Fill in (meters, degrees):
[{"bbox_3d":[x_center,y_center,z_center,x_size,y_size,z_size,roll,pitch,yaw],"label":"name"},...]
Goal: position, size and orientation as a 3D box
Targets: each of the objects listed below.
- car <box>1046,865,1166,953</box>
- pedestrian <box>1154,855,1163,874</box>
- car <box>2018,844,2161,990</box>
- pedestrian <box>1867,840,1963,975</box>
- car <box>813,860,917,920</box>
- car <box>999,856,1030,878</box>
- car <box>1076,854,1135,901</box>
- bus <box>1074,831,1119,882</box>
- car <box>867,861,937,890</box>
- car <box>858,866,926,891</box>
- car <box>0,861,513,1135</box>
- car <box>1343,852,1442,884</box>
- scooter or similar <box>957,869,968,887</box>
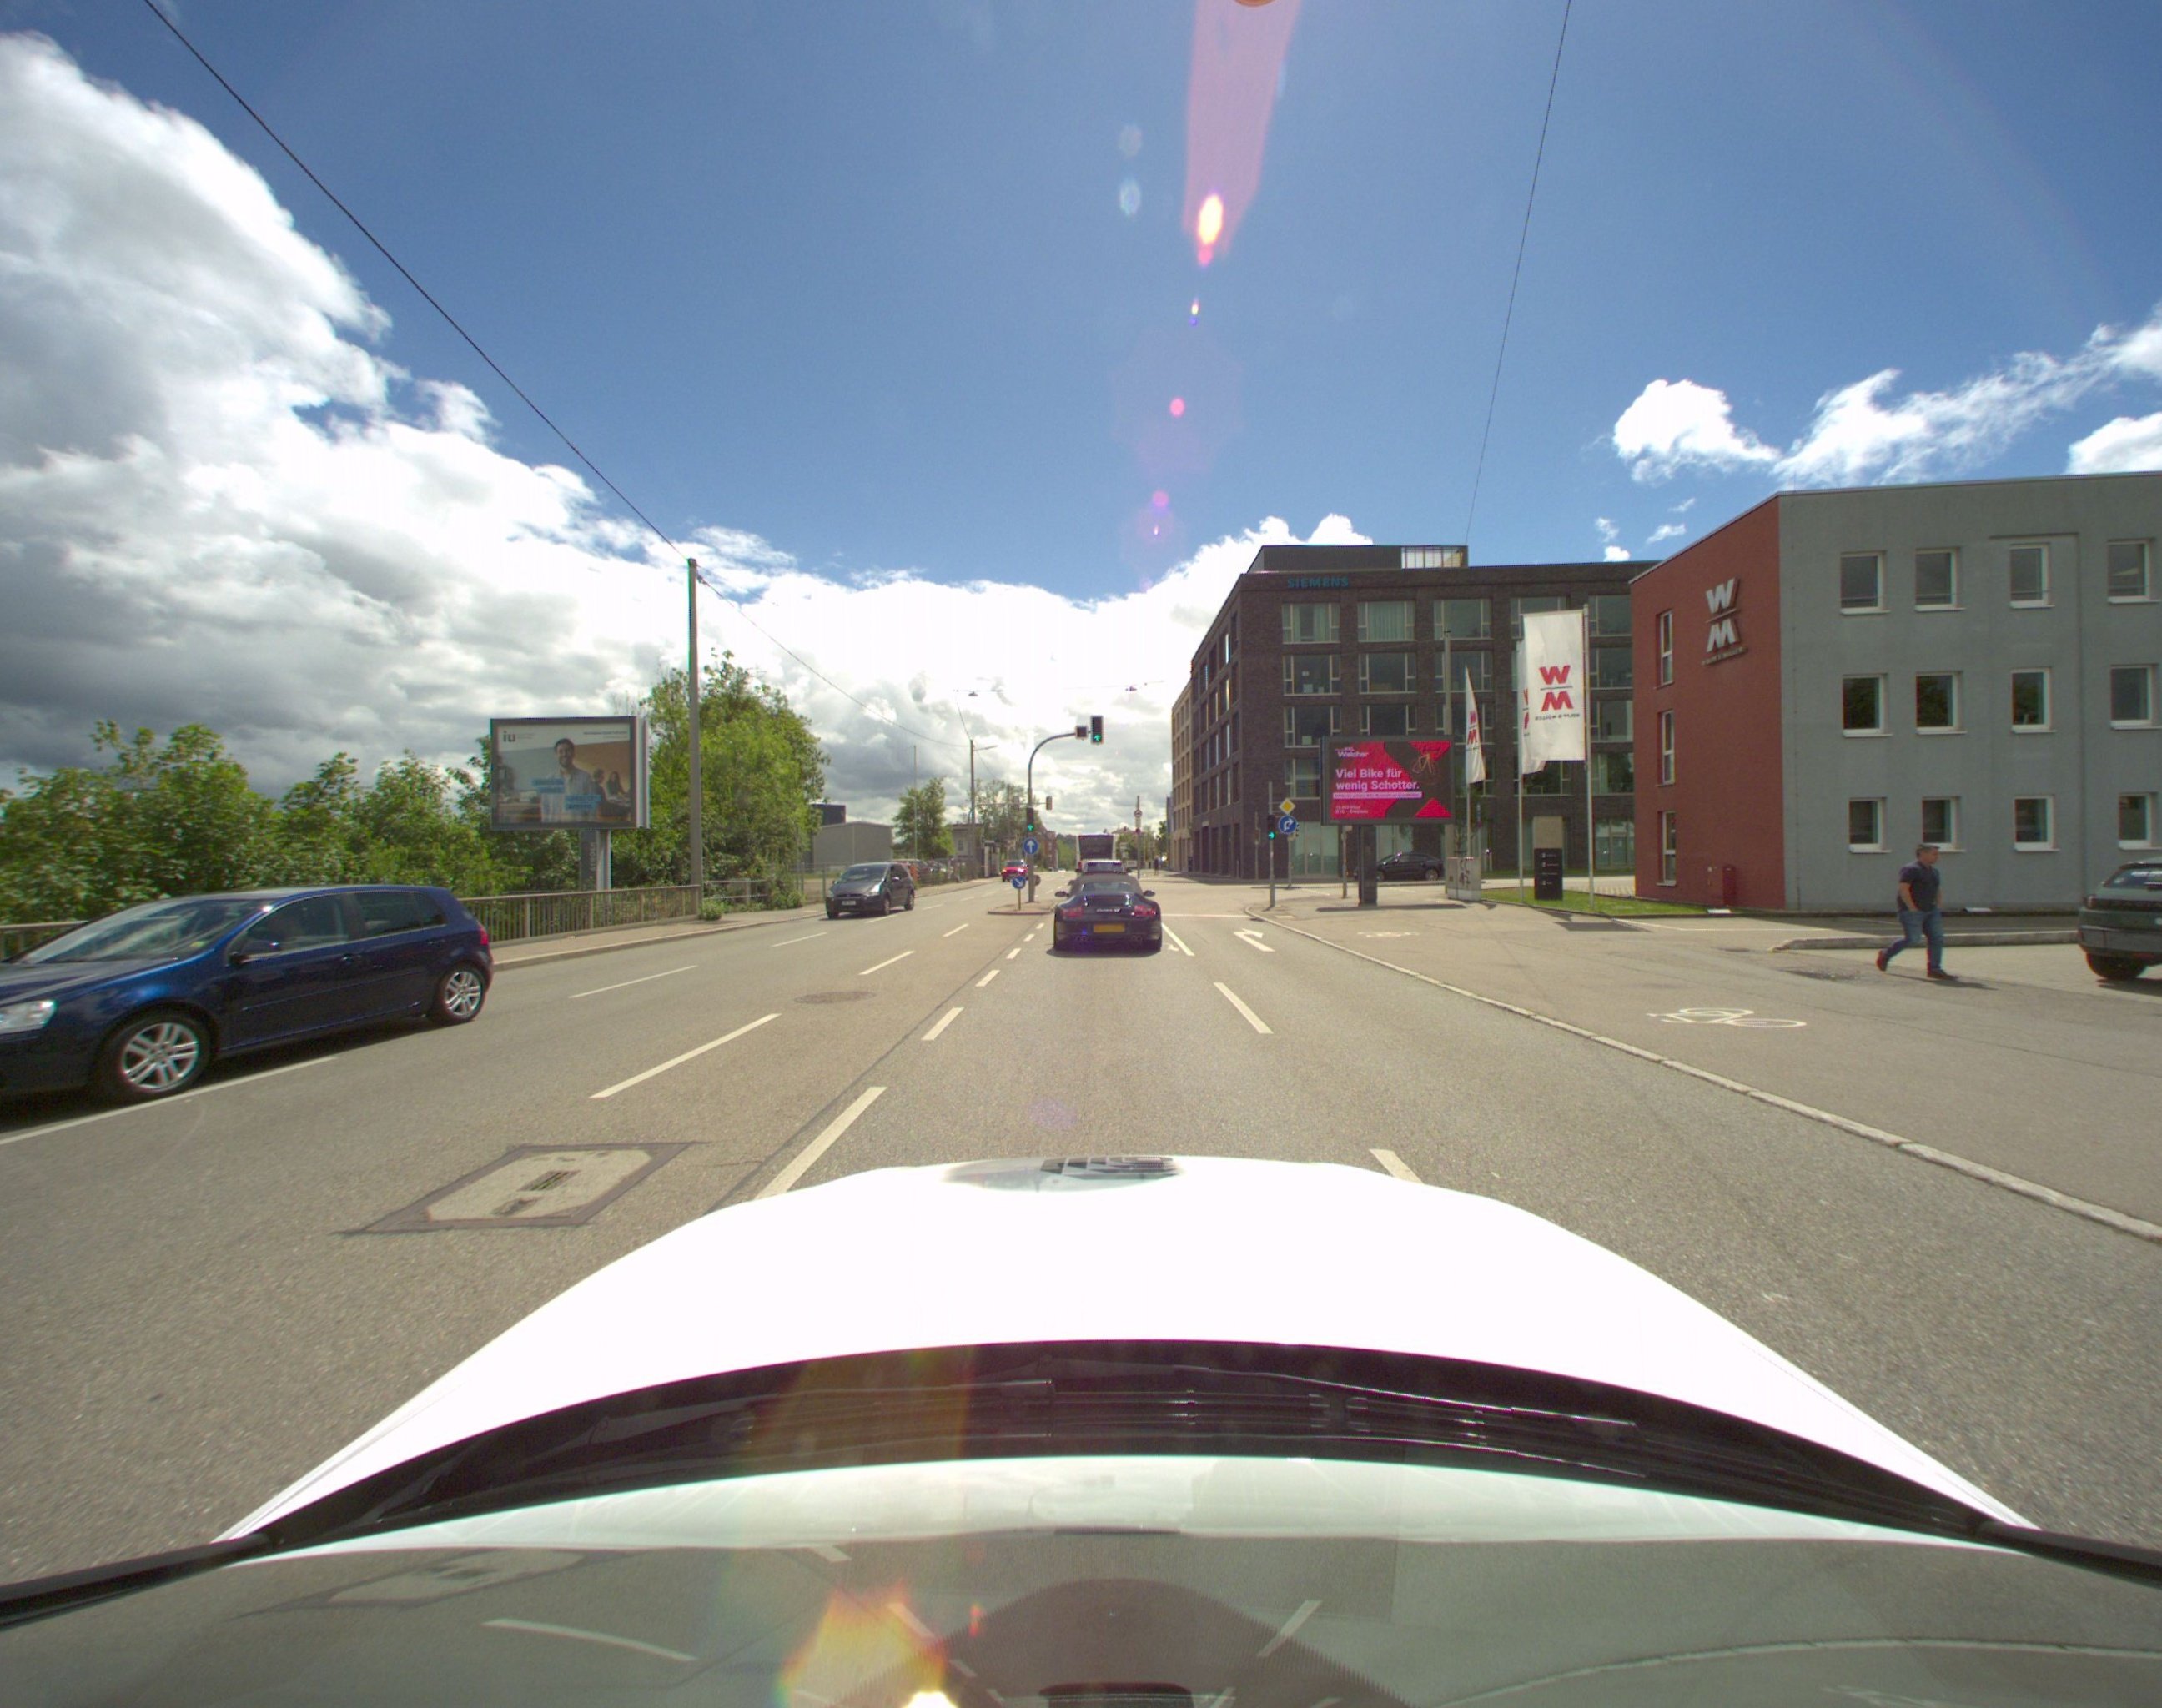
[{"bbox_3d":[0.464,0.924,15.264,1.923,1.377,4.209,-1,-1,2],"label":"car"},{"bbox_3d":[6.969,0.967,73.399,0.681,1.728,0.962,0,-1,0],"label":"pedestrian"},{"bbox_3d":[13.480,0.583,9.152,3.651,1.486,1.763,-5,-2,3],"label":"car"},{"bbox_3d":[10.954,0.678,10.720,0.705,1.707,0.634,-1,0,28],"label":"pedestrian"},{"bbox_3d":[-6.699,1.050,25.793,1.904,1.702,4.626,-1,-1,2],"label":"car"},{"bbox_3d":[-4.988,0.941,61.390,1.834,1.596,4.002,-1,0,2],"label":"car"},{"bbox_3d":[0.821,0.816,29.766,1.925,1.583,4.205,-1,-1,-1],"label":"car"},{"bbox_3d":[1.202,0.206,57.504,2.791,3.198,12.201,-1,-1,2],"label":"bus"},{"bbox_3d":[-11.484,1.364,52.395,4.094,1.734,1.997,-1,-1,-4],"label":"car"},{"bbox_3d":[-11.470,1.469,49.614,3.849,1.419,1.897,-1,-1,-8],"label":"car"},{"bbox_3d":[-7.169,0.886,6.874,1.849,1.618,4.001,-1,0,2],"label":"car"},{"bbox_3d":[16.882,0.768,44.245,4.624,1.619,2.000,-1,-1,0],"label":"car"},{"bbox_3d":[-8.220,1.658,56.539,0.421,1.210,1.128,1,-1,5],"label":"scooter or similar"}]
